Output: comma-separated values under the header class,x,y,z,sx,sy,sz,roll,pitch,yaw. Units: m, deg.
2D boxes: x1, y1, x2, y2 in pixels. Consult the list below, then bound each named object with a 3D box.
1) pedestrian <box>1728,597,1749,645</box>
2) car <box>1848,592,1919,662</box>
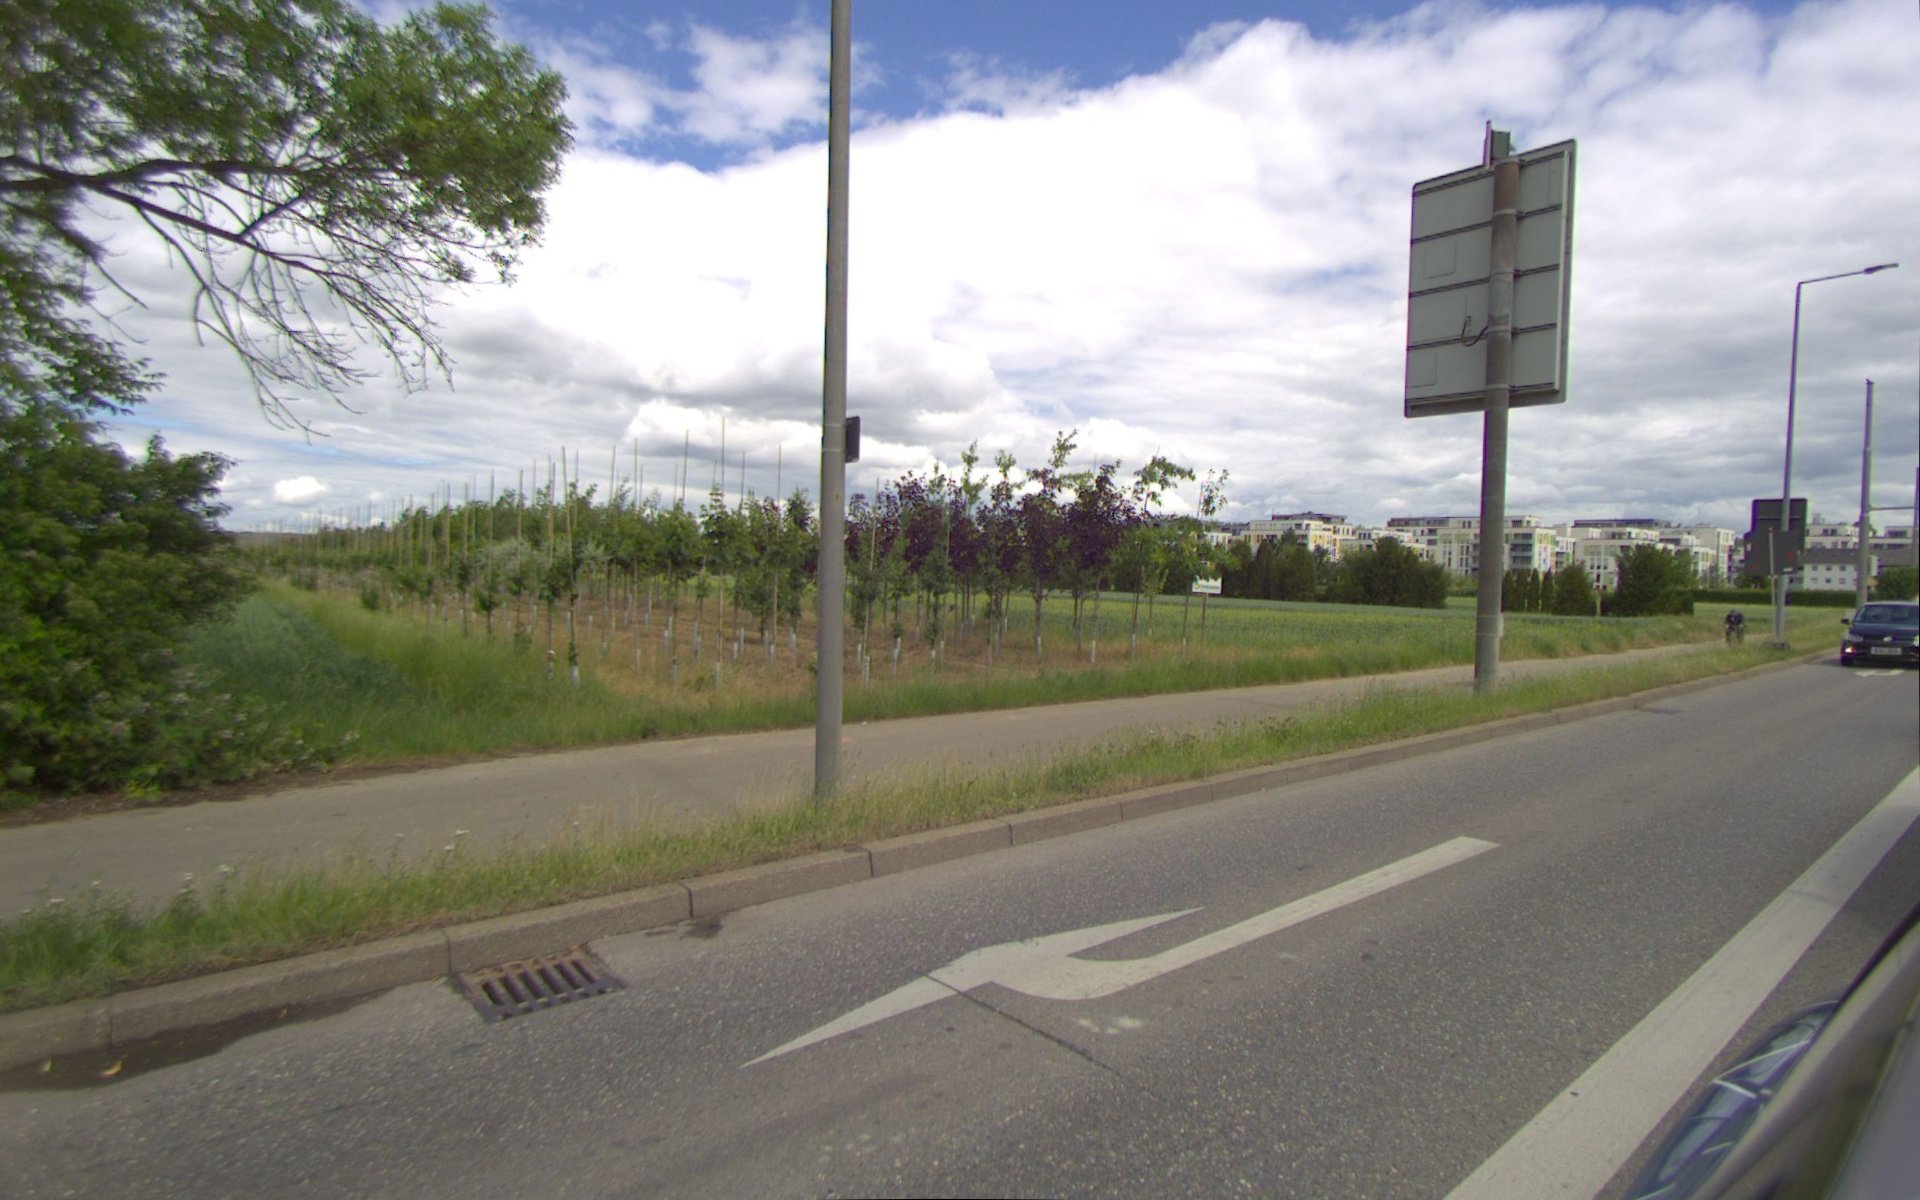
class,x,y,z,sx,sy,sz,roll,pitch,yaw
pedestrian,28.149,0.747,36.596,0.615,1.724,0.492,0,0,-42
car,21.329,0.556,22.724,3.676,1.436,1.681,0,2,-42
